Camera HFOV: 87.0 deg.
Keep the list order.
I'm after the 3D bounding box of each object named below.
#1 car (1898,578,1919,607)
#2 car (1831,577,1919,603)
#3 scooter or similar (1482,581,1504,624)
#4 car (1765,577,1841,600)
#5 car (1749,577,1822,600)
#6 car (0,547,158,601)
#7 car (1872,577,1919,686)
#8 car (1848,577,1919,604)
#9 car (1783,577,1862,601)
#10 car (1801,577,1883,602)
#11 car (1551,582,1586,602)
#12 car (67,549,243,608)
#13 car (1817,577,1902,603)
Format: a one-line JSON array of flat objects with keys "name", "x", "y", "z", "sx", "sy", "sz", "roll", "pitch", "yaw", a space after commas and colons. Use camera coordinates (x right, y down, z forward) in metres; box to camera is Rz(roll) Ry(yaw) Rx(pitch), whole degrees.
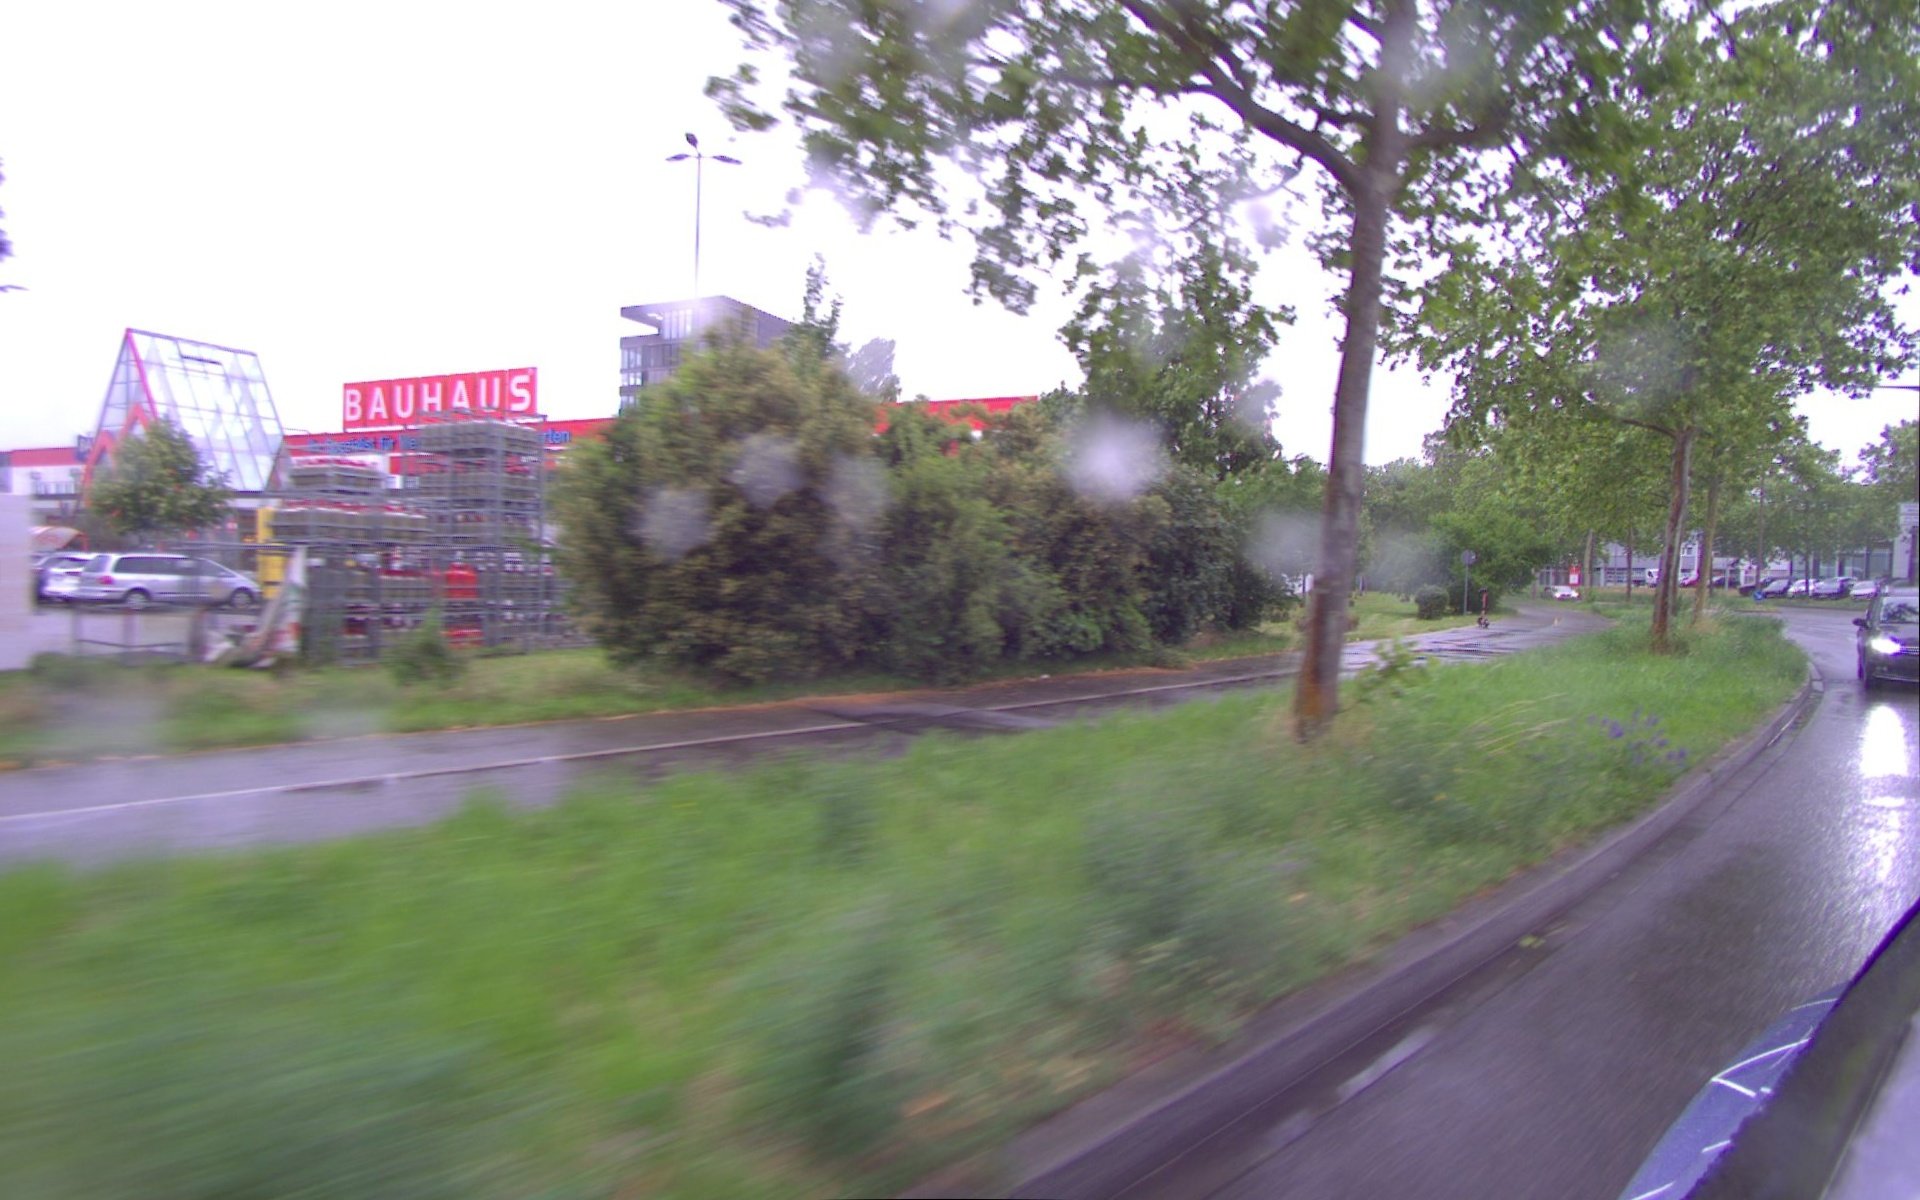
[{"name": "car", "x": 59.279, "y": -0.472, "z": 60.770, "sx": 3.935, "sy": 1.680, "sz": 1.860, "roll": 0, "pitch": 1, "yaw": 10}, {"name": "car", "x": 60.911, "y": -0.650, "z": 67.386, "sx": 3.935, "sy": 1.680, "sz": 1.860, "roll": 0, "pitch": 1, "yaw": 10}, {"name": "scooter or similar", "x": 16.540, "y": 0.046, "z": 31.441, "sx": 0.446, "sy": 1.290, "sz": 1.589, "roll": 1, "pitch": 1, "yaw": 23}, {"name": "car", "x": 63.130, "y": -0.843, "z": 75.851, "sx": 3.935, "sy": 1.680, "sz": 1.860, "roll": 0, "pitch": 1, "yaw": 10}, {"name": "car", "x": 63.390, "y": -0.885, "z": 77.779, "sx": 3.935, "sy": 1.680, "sz": 1.860, "roll": 0, "pitch": 1, "yaw": 10}, {"name": "car", "x": -28.772, "y": -0.856, "z": 32.982, "sx": 1.740, "sy": 1.654, "sz": 3.805, "roll": 2, "pitch": 2, "yaw": 31}, {"name": "car", "x": 16.290, "y": 0.448, "z": 16.654, "sx": 1.782, "sy": 1.635, "sz": 4.647, "roll": 0, "pitch": 0, "yaw": 41}, {"name": "car", "x": 60.151, "y": -0.599, "z": 65.233, "sx": 3.935, "sy": 1.680, "sz": 1.860, "roll": 0, "pitch": 1, "yaw": 10}, {"name": "car", "x": 62.883, "y": -0.800, "z": 73.812, "sx": 3.935, "sy": 1.680, "sz": 1.860, "roll": 0, "pitch": 1, "yaw": 10}, {"name": "car", "x": 62.348, "y": -0.750, "z": 71.598, "sx": 3.935, "sy": 1.680, "sz": 1.860, "roll": 0, "pitch": 1, "yaw": 10}, {"name": "car", "x": 52.531, "y": -0.747, "z": 87.396, "sx": 1.977, "sy": 1.671, "sz": 3.970, "roll": 1, "pitch": 1, "yaw": 22}, {"name": "car", "x": -24.127, "y": -0.643, "z": 30.457, "sx": 1.740, "sy": 1.654, "sz": 3.805, "roll": 2, "pitch": 2, "yaw": 31}, {"name": "car", "x": 61.658, "y": -0.699, "z": 69.437, "sx": 3.935, "sy": 1.680, "sz": 1.860, "roll": 0, "pitch": 1, "yaw": 10}]
